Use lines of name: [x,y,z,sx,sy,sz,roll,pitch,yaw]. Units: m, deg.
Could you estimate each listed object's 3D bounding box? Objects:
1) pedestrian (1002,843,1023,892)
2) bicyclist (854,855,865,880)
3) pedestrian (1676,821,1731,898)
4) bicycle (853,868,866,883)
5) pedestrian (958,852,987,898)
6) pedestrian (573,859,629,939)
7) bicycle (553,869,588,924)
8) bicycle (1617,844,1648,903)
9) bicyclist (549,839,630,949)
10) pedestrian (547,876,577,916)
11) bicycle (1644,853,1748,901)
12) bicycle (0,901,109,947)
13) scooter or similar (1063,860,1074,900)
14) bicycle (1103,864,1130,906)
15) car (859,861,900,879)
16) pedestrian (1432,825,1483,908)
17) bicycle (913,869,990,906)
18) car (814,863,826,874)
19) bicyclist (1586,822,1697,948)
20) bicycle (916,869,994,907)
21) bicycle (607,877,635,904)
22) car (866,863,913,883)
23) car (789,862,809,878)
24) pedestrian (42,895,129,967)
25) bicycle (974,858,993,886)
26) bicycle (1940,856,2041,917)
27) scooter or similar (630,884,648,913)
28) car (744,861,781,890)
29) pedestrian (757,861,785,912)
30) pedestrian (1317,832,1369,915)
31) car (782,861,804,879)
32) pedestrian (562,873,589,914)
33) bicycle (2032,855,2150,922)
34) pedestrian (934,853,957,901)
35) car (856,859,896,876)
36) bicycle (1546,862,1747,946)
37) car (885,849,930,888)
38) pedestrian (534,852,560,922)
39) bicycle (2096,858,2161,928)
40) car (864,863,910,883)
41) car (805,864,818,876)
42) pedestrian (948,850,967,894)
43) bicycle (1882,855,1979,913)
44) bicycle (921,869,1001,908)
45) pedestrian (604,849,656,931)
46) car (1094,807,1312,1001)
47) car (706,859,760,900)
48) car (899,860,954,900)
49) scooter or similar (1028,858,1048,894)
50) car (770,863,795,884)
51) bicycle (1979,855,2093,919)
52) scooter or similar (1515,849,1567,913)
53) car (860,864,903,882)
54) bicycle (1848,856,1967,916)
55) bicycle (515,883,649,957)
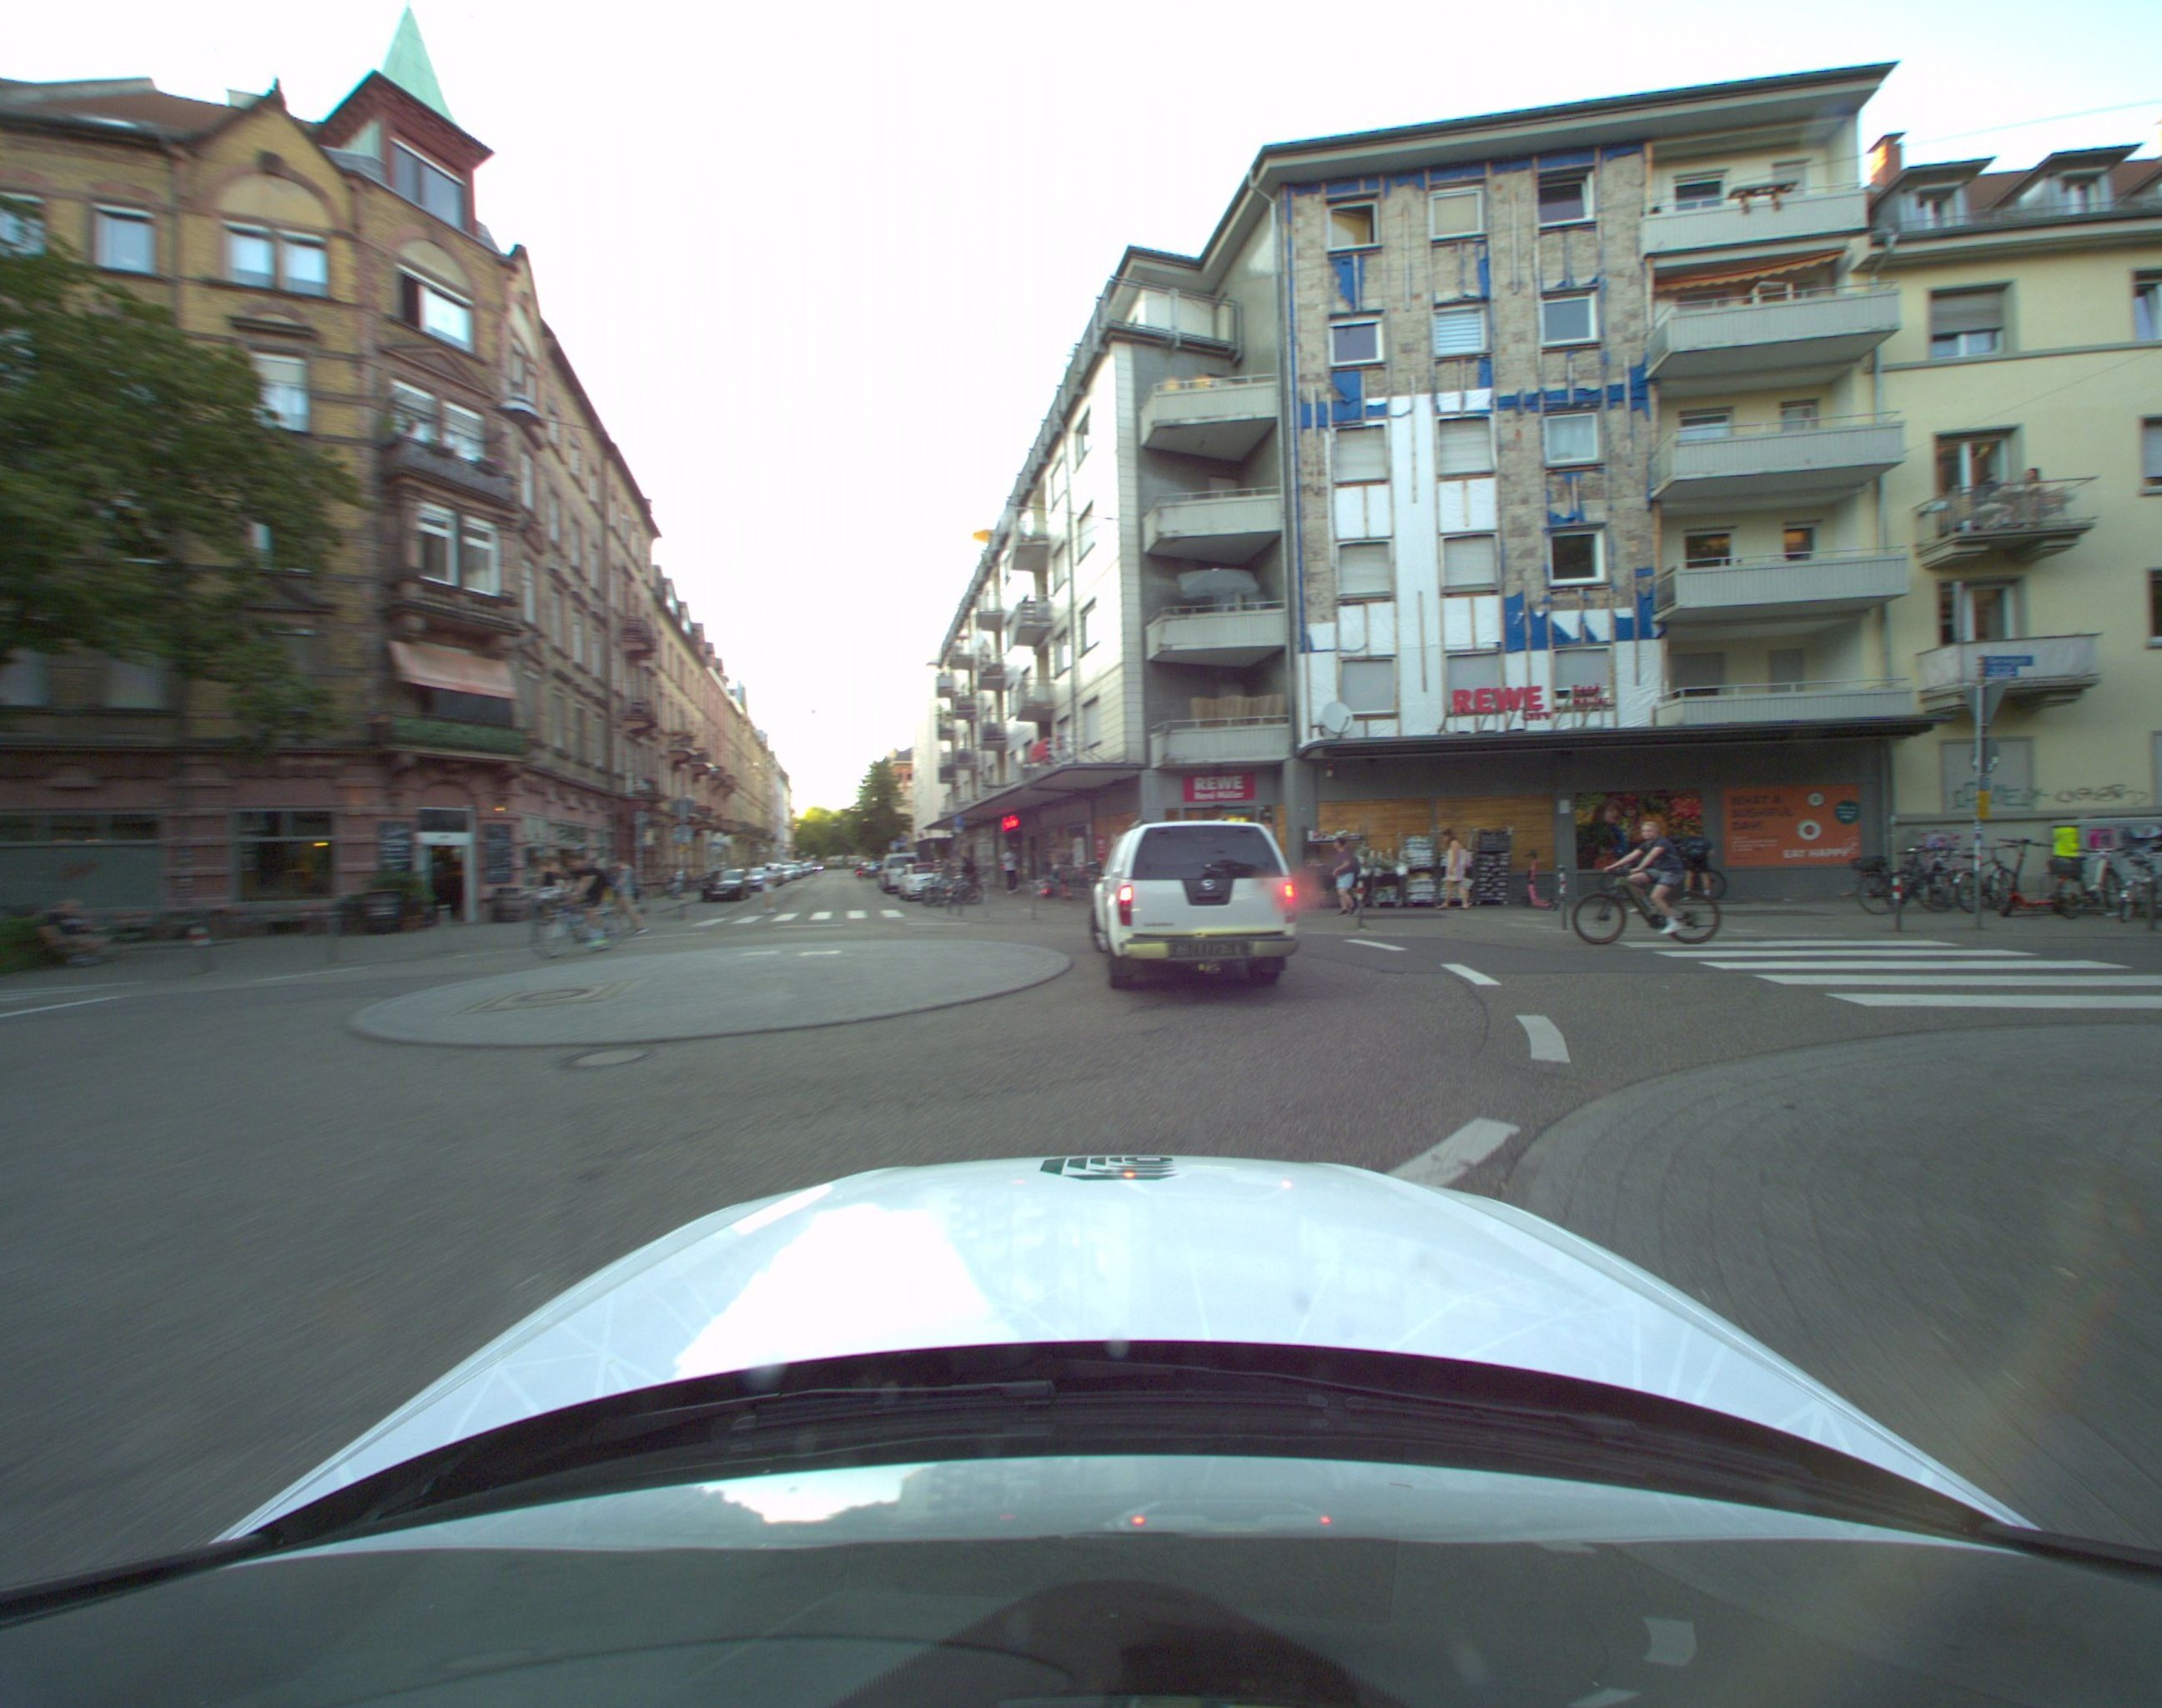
pedestrian: [-2.716,0.544,32.265,0.721,1.906,0.698,0,-1,-16]
bicyclist: [-17.608,1.058,64.774,0.841,1.944,0.779,0,-1,-20]
pedestrian: [13.240,0.120,17.340,0.659,1.601,0.720,-1,-1,13]
bicycle: [-17.657,1.726,64.902,0.841,1.171,1.923,0,-1,-19]
pedestrian: [-3.914,0.754,29.391,0.693,1.663,0.727,-1,-2,36]
pedestrian: [-10.726,0.995,18.224,0.904,1.736,0.613,0,-1,-13]
bicycle: [-13.828,1.119,22.102,0.425,1.443,1.891,0,-1,-21]
bicycle: [11.696,0.406,17.304,0.344,1.203,1.820,-1,-1,28]
bicyclist: [-8.705,0.696,14.452,0.832,1.876,0.882,-1,-1,16]
pedestrian: [-15.899,1.285,24.964,0.651,1.191,0.536,0,-1,-20]
bicycle: [13.407,0.505,17.775,1.866,1.027,0.378,0,-1,7]
bicycle: [-23.513,1.546,17.863,2.904,0.958,0.622,0,-1,-18]
scooter or similar: [-0.405,0.836,26.160,0.219,1.237,0.963,0,1,-9]
bicycle: [0.957,0.844,22.265,0.291,1.112,0.957,0,-1,-29]
car: [-20.795,1.646,83.897,3.997,1.750,1.829,0,-1,-18]
pedestrian: [7.985,0.266,17.299,0.720,1.726,0.664,0,-1,-9]
bicycle: [-4.446,1.136,28.019,2.471,1.038,0.612,-4,0,-22]
car: [-43.142,2.418,134.550,1.839,1.750,3.976,0,-1,-17]
bicyclist: [7.844,0.421,11.440,0.991,1.689,0.791,-1,0,0]
bicycle: [-4.223,1.123,27.391,2.471,1.038,0.612,-4,0,-22]
bicycle: [-18.452,1.434,32.716,0.388,1.036,2.469,0,-1,-15]
car: [-17.034,1.681,72.363,3.997,1.750,1.829,0,-1,-18]
car: [-30.578,1.723,88.341,1.839,1.750,3.976,0,-1,-17]
pedestrian: [-18.389,1.410,15.060,0.756,1.262,0.664,0,-1,-17]
bicycle: [-4.960,0.898,41.475,0.557,1.408,2.082,0,-1,-19]
bicycle: [15.743,0.548,14.091,2.014,1.027,0.375,0,-1,-18]
scooter or similar: [-14.519,1.444,26.732,0.235,0.929,1.251,1,-2,-41]
car: [-19.873,1.320,50.957,1.839,1.750,4.138,0,-1,-17]
pedestrian: [-10.104,1.060,26.587,0.800,1.621,0.938,0,-1,-19]
pedestrian: [5.319,0.394,16.533,0.718,1.652,0.709,0,-1,-18]
car: [-28.574,1.606,80.833,1.839,1.750,3.976,0,-1,-17]
pedestrian: [-16.199,1.260,26.106,0.651,1.286,0.536,0,-1,-20]
bicycle: [16.146,0.526,13.020,2.014,1.027,0.488,0,-1,-18]
pedestrian: [-4.819,0.808,28.870,0.721,1.663,0.698,0,-1,-16]
car: [-21.846,1.410,86.734,3.997,1.750,1.829,0,-1,-18]
bicycle: [7.908,0.683,11.451,2.270,1.073,0.791,-1,0,0]
car: [-9.035,0.766,42.243,1.947,1.934,3.976,0,-1,-17]
pedestrian: [-14.328,0.878,21.863,0.508,1.840,0.566,1,-2,-39]
bicycle: [16.522,0.573,12.557,2.016,1.027,0.488,0,-1,-21]
car: [-17.708,1.724,74.484,3.997,1.750,1.829,0,-1,-18]
car: [-41.779,2.486,126.335,1.839,1.750,3.976,0,-1,-17]
pedestrian: [-4.762,0.681,31.452,0.700,1.663,0.719,0,-1,-11]
bicycle: [15.503,0.537,14.850,2.014,1.027,0.375,0,-1,-18]
bicycle: [-3.936,1.118,26.771,2.471,1.038,0.612,-4,0,-21]
pedestrian: [-10.657,0.827,19.261,0.608,1.885,0.912,-2,-2,43]
car: [1.201,0.437,10.209,1.932,1.810,5.000,-1,1,-1]
car: [-15.975,1.155,37.535,1.839,1.750,3.976,0,-1,-17]
car: [-6.479,1.055,33.887,1.839,1.542,3.976,0,-1,-17]
scooter or similar: [-1.582,0.788,29.890,0.440,1.290,1.659,0,-1,-14]
car: [-26.270,1.722,71.826,1.839,1.750,3.976,0,-1,-17]
bicycle: [15.935,0.538,13.585,2.014,1.027,0.488,0,-1,-18]
scooter or similar: [9.508,0.526,16.861,0.320,1.266,1.288,0,1,-1]
car: [-19.530,1.831,79.720,3.997,1.750,1.829,0,-1,-18]
bicycle: [14.362,0.551,14.165,1.651,1.027,0.378,0,-1,1]
bicycle: [-8.722,1.123,14.358,0.832,1.171,1.944,-1,-1,16]
